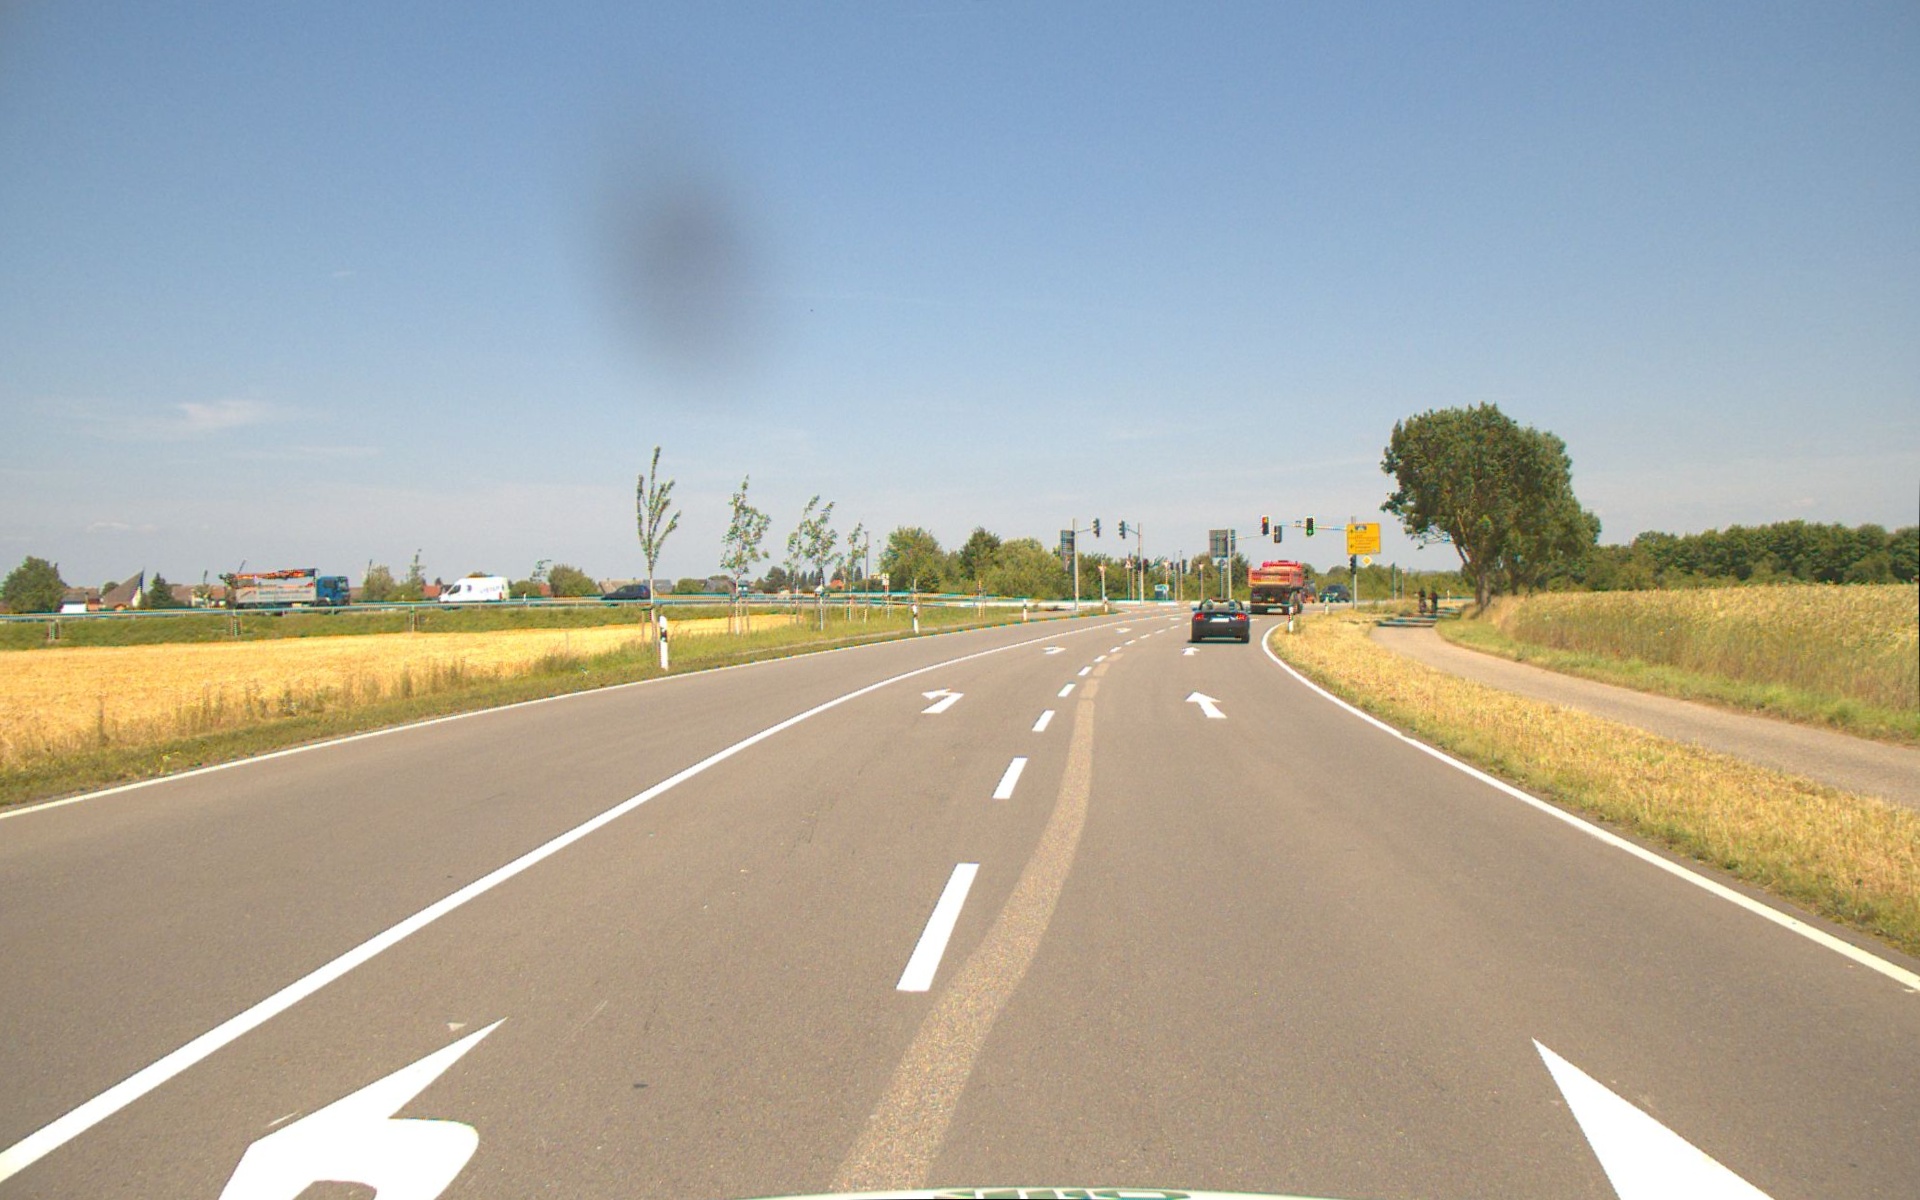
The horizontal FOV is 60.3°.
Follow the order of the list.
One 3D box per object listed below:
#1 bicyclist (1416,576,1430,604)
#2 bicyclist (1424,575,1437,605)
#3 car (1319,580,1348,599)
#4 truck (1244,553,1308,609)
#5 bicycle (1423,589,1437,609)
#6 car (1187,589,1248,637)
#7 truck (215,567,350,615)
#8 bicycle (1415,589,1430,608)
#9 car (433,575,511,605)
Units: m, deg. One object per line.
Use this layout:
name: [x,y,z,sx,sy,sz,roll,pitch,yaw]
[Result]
bicyclist: [30.379,-0.676,108.504,0.575,1.764,1.171,4,2,24]
bicyclist: [30.183,-0.647,106.086,0.615,1.813,0.978,4,2,21]
car: [35.059,-0.977,155.136,1.891,1.770,4.889,0,1,21]
truck: [18.664,-1.056,97.291,2.657,3.106,8.167,0,-1,18]
bicycle: [30.208,-0.055,106.194,0.684,1.231,2.051,2,1,20]
car: [7.852,0.402,50.266,1.710,1.400,3.682,1,-1,10]
truck: [-55.156,-0.743,134.824,9.878,3.859,2.625,0,1,-3]
bicycle: [30.365,-0.091,108.542,0.593,1.197,2.050,3,1,24]
car: [-40.947,-0.882,138.896,5.795,2.464,2.248,0,1,1]
